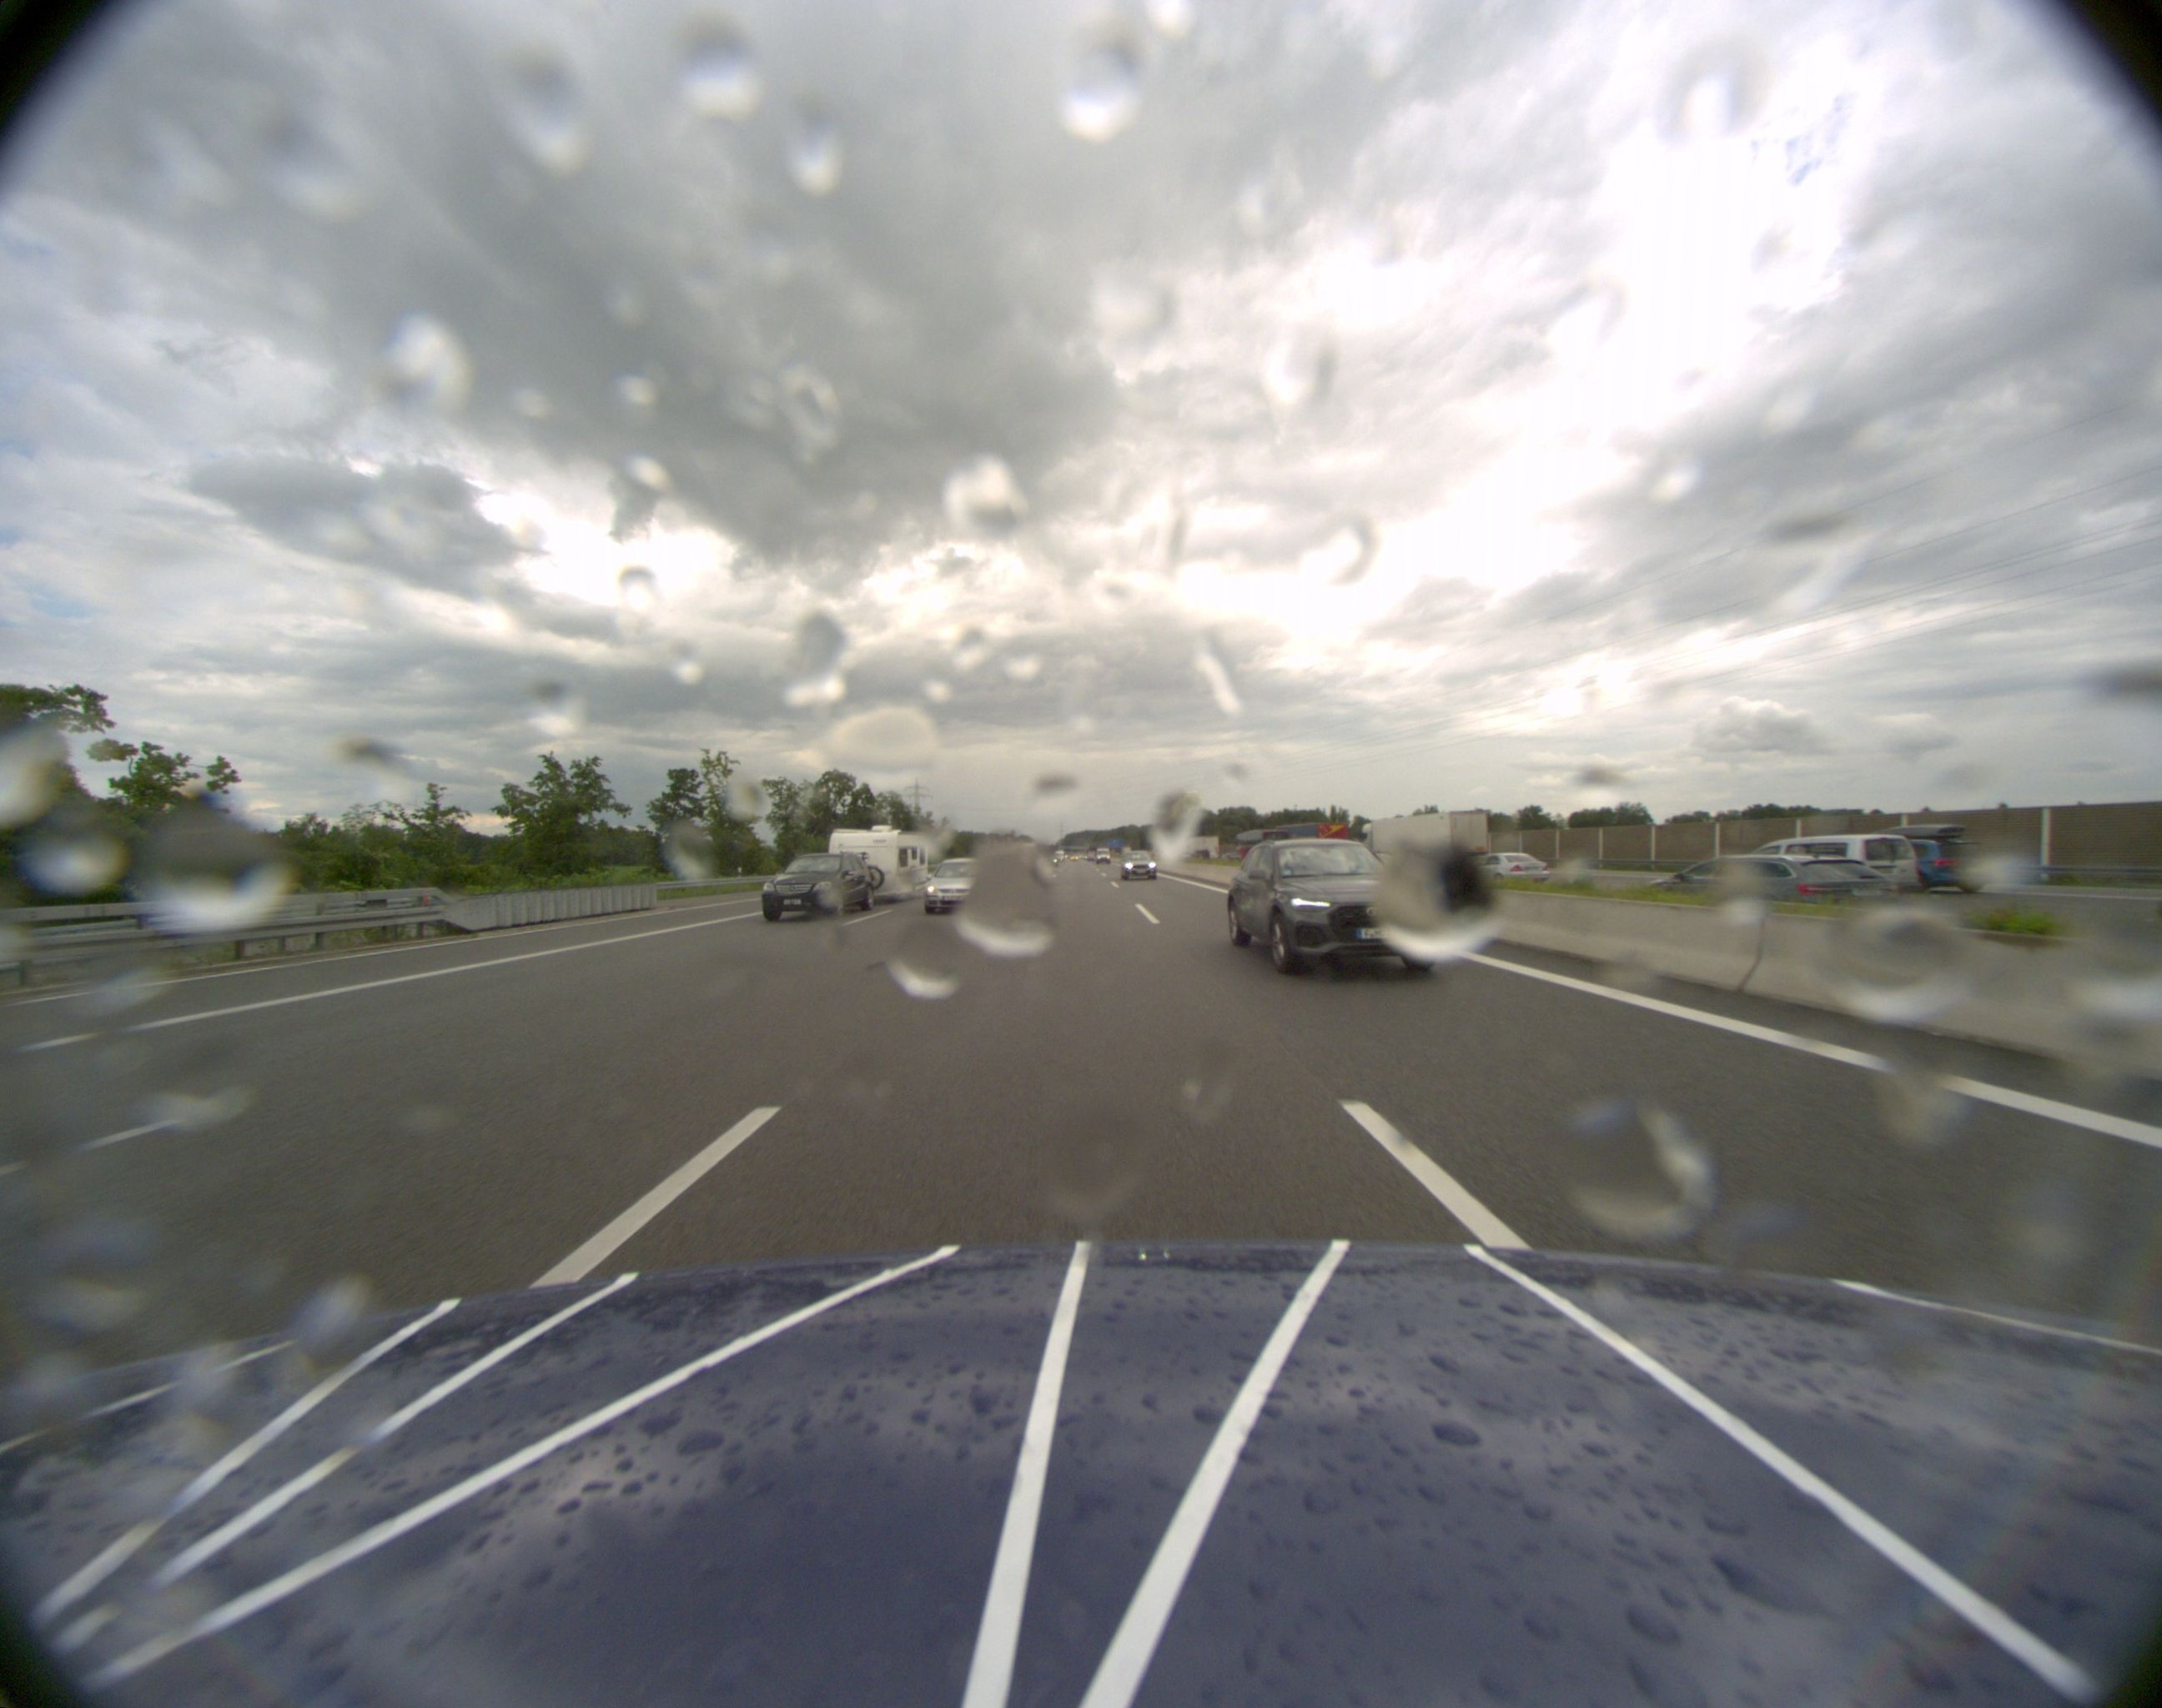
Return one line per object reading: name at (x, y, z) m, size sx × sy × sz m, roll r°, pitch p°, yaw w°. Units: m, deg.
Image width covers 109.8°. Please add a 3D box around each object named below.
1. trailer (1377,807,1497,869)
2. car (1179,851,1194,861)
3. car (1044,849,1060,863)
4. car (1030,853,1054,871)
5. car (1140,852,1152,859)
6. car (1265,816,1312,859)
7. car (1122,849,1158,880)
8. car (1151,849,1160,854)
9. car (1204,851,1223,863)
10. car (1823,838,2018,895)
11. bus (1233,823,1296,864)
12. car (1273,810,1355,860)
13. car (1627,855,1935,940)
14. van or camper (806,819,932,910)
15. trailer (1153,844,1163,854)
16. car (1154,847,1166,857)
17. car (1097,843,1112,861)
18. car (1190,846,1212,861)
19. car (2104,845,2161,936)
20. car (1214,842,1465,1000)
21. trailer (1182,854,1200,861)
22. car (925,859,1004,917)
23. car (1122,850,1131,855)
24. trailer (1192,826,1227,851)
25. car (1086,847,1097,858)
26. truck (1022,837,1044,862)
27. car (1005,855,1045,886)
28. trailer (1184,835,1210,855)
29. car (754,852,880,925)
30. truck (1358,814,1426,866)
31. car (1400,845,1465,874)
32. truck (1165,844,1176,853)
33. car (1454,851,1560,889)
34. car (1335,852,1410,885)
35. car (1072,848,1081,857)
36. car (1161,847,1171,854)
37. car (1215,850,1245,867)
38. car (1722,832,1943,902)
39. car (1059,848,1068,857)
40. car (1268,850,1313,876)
trailer at (26.343, -1.107, 57.272) m, size 2.907 × 4.092 × 12.697 m, roll -2°, pitch 0°, yaw -1°
car at (17.631, 0.260, 127.530) m, size 1.792 × 1.553 × 4.564 m, roll -2°, pitch 0°, yaw -1°
car at (-3.680, 0.221, 97.080) m, size 1.999 × 1.701 × 3.999 m, roll -2°, pitch 0°, yaw -1°
car at (-3.458, 0.684, 67.887) m, size 1.841 × 1.437 × 3.999 m, roll -2°, pitch 0°, yaw 0°
car at (13.061, 0.262, 153.151) m, size 1.792 × 1.446 × 4.564 m, roll -2°, pitch 0°, yaw -1°
car at (21.396, -1.643, 78.683) m, size 2.990 × 4.126 × 6.041 m, roll -2°, pitch 1°, yaw -1°
car at (3.365, 0.560, 44.041) m, size 1.840 × 1.615 × 4.915 m, roll -2°, pitch 0°, yaw 2°
car at (22.545, -0.789, 229.434) m, size 1.970 × 1.586 × 4.820 m, roll -2°, pitch 0°, yaw -1°
car at (18.554, 0.406, 106.437) m, size 1.792 × 1.446 × 4.564 m, roll -2°, pitch 0°, yaw -1°
car at (26.352, 0.357, 24.083) m, size 1.792 × 1.588 × 3.955 m, roll -2°, pitch 0°, yaw -1°
bus at (17.925, -0.955, 75.297) m, size 2.897 × 3.590 × 12.757 m, roll -2°, pitch 0°, yaw -1°
car at (21.494, -1.605, 71.303) m, size 2.990 × 4.100 × 14.393 m, roll -2°, pitch 0°, yaw -1°
car at (13.899, 0.765, 15.612) m, size 1.792 × 1.373 × 4.860 m, roll -2°, pitch 0°, yaw -1°
van or camper at (-7.249, 0.295, 27.076) m, size 2.390 × 2.723 × 7.208 m, roll -2°, pitch 0°, yaw 0°
trailer at (22.635, -1.503, 224.548) m, size 2.254 × 2.945 × 4.899 m, roll -2°, pitch 0°, yaw -1°
car at (17.591, -0.423, 169.467) m, size 2.286 × 1.956 × 6.086 m, roll -2°, pitch 0°, yaw 1°
car at (3.471, -0.268, 112.817) m, size 1.999 × 2.524 × 4.807 m, roll -2°, pitch 0°, yaw -1°
car at (13.941, -0.075, 88.443) m, size 1.792 × 1.656 × 4.295 m, roll -2°, pitch 0°, yaw -1°
car at (17.687, 0.560, 10.031) m, size 1.792 × 1.373 × 4.860 m, roll -2°, pitch 0°, yaw -1°
car at (3.268, 0.715, 10.863) m, size 1.913 × 1.681 × 5.168 m, roll -2°, pitch 0°, yaw 1°
trailer at (17.739, 0.549, 122.865) m, size 2.098 × 1.064 × 4.759 m, roll -2°, pitch 0°, yaw -1°
car at (-3.294, 0.918, 22.161) m, size 1.683 × 1.437 × 3.999 m, roll -2°, pitch 0°, yaw 0°
car at (12.898, -0.395, 214.734) m, size 1.999 × 1.517 × 4.739 m, roll -2°, pitch 0°, yaw -2°
trailer at (21.954, -2.572, 130.837) m, size 3.669 × 4.084 × 13.398 m, roll -2°, pitch 0°, yaw 0°
car at (2.205, -0.321, 159.477) m, size 1.999 × 2.002 × 3.999 m, roll -2°, pitch 0°, yaw -1°
truck at (-7.420, -0.637, 118.423) m, size 2.870 × 3.633 × 9.593 m, roll -2°, pitch 0°, yaw 0°
car at (-2.809, 0.795, 38.994) m, size 1.717 × 1.437 × 3.999 m, roll -2°, pitch 0°, yaw 0°
trailer at (26.070, -1.970, 171.433) m, size 3.670 × 4.212 × 12.465 m, roll -2°, pitch 0°, yaw 0°
car at (-7.173, 0.853, 21.191) m, size 1.925 × 1.766 × 4.502 m, roll -2°, pitch 0°, yaw 0°
truck at (26.282, -1.145, 64.526) m, size 2.907 × 4.092 × 6.621 m, roll -2°, pitch 0°, yaw -1°
car at (21.306, 0.305, 46.269) m, size 1.792 × 1.582 × 4.581 m, roll -2°, pitch 0°, yaw -1°
truck at (24.413, -1.498, 206.639) m, size 2.108 × 2.437 × 6.263 m, roll -2°, pitch 0°, yaw -1°
car at (18.026, 0.616, 32.458) m, size 1.721 × 1.418 × 4.860 m, roll -2°, pitch 0°, yaw -1°
car at (14.158, 0.655, 37.204) m, size 1.721 × 1.418 × 4.860 m, roll -2°, pitch 0°, yaw -1°
car at (-1.153, -0.400, 175.767) m, size 1.999 × 2.002 × 3.999 m, roll -2°, pitch 0°, yaw -1°
car at (21.150, -0.855, 188.223) m, size 1.792 × 1.460 × 4.564 m, roll -2°, pitch 0°, yaw -1°
car at (13.774, 0.383, 70.413) m, size 1.792 × 1.524 × 4.564 m, roll -2°, pitch 0°, yaw -1°
car at (21.345, 0.321, 21.912) m, size 1.795 × 1.729 × 4.577 m, roll -2°, pitch 0°, yaw -1°
car at (-4.221, -0.412, 181.777) m, size 1.999 × 2.002 × 3.999 m, roll -2°, pitch 0°, yaw -1°
car at (13.519, 0.540, 49.288) m, size 1.721 × 1.514 × 4.212 m, roll -2°, pitch 0°, yaw -1°
